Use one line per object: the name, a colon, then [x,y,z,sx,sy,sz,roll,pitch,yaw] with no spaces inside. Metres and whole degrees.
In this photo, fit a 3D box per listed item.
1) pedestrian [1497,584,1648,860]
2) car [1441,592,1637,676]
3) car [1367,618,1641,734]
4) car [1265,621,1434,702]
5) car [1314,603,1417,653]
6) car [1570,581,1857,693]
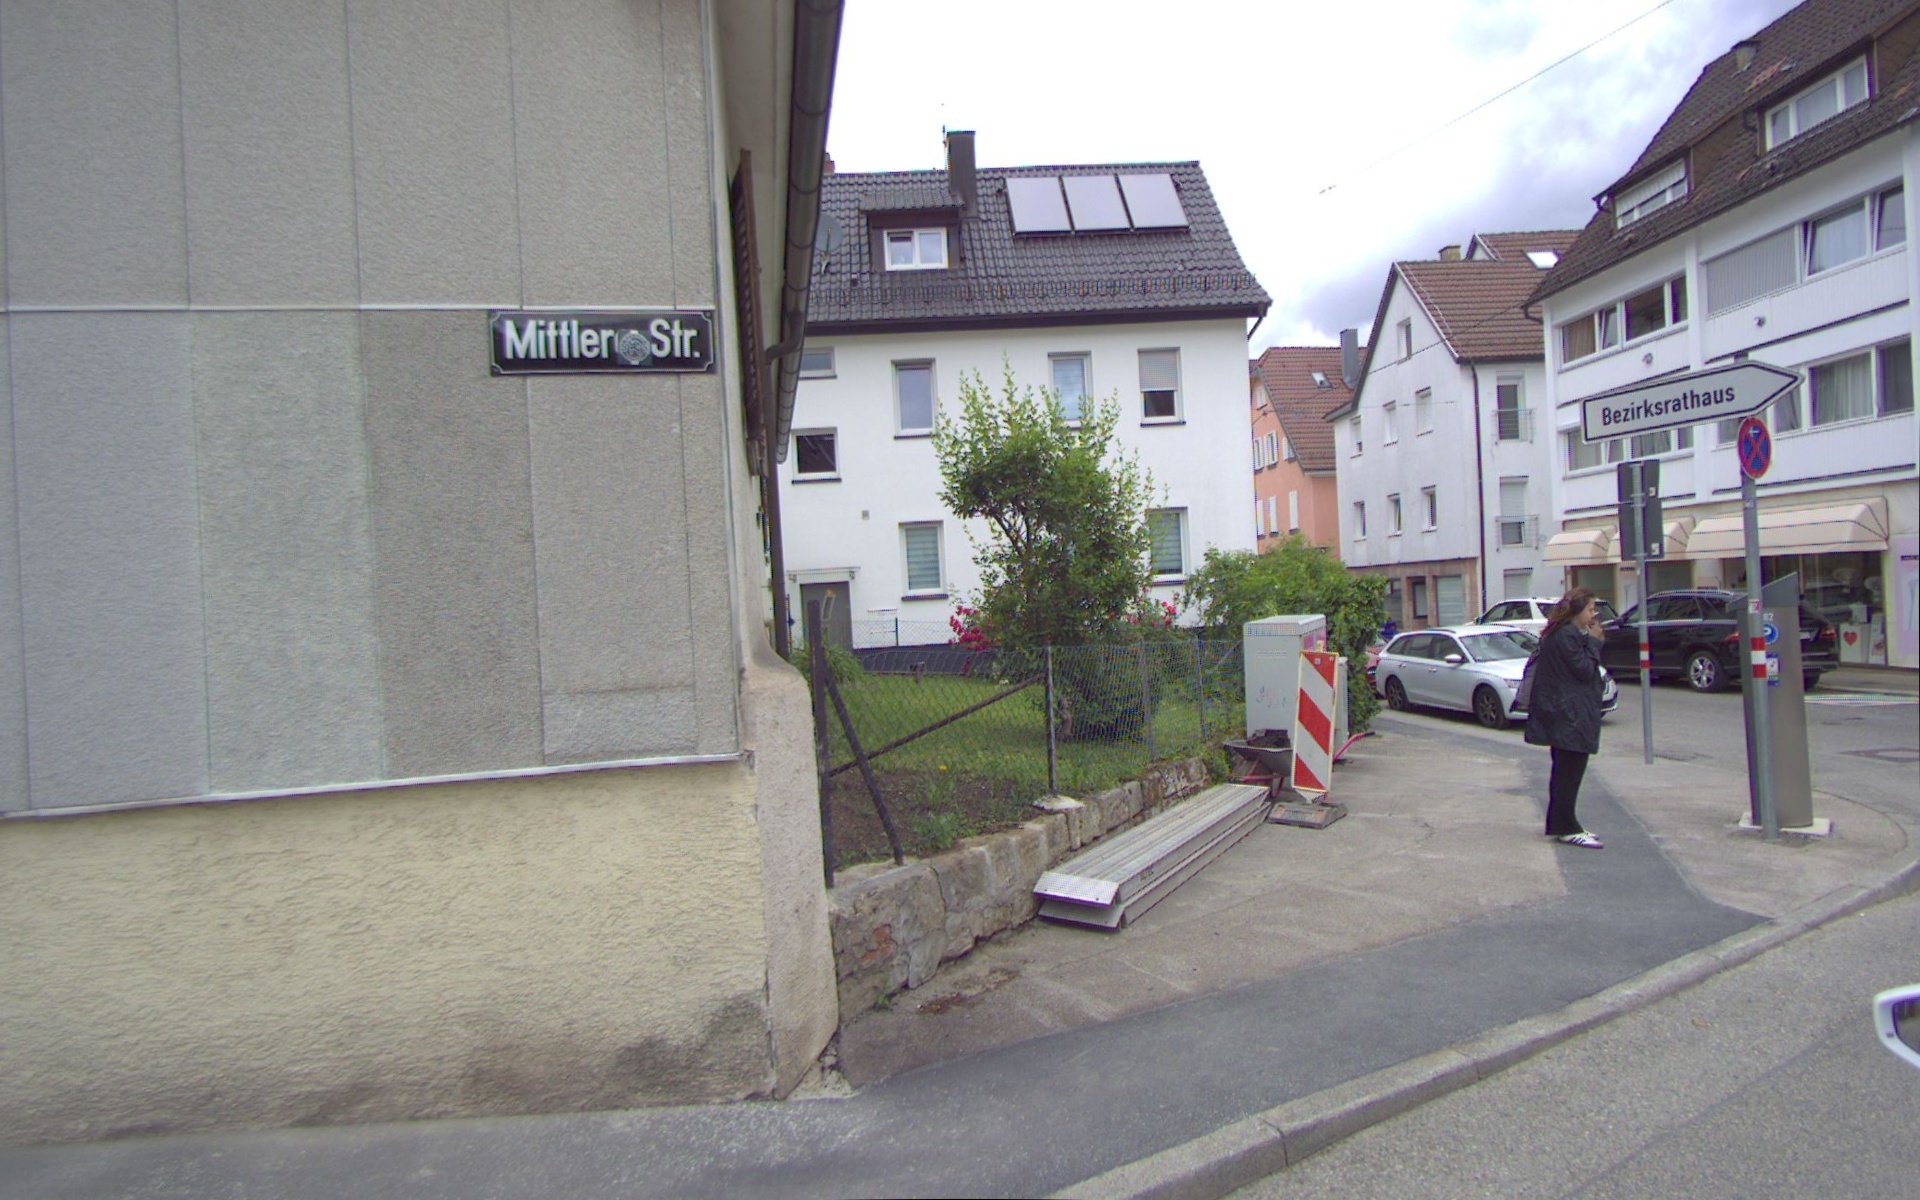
pedestrian: [4.043,0.760,6.647,0.597,1.707,0.643,0,-1,-32]
car: [13.604,0.743,23.941,1.903,1.734,4.374,-2,0,-4]
car: [8.557,1.109,16.324,1.765,1.480,4.293,-5,-1,-5]
car: [8.253,1.245,21.723,1.740,1.436,4.170,-5,-1,-3]
car: [13.602,0.926,33.910,1.746,1.494,3.781,-2,-1,-3]
car: [13.796,0.664,18.806,1.910,1.803,4.368,-1,-1,-3]
